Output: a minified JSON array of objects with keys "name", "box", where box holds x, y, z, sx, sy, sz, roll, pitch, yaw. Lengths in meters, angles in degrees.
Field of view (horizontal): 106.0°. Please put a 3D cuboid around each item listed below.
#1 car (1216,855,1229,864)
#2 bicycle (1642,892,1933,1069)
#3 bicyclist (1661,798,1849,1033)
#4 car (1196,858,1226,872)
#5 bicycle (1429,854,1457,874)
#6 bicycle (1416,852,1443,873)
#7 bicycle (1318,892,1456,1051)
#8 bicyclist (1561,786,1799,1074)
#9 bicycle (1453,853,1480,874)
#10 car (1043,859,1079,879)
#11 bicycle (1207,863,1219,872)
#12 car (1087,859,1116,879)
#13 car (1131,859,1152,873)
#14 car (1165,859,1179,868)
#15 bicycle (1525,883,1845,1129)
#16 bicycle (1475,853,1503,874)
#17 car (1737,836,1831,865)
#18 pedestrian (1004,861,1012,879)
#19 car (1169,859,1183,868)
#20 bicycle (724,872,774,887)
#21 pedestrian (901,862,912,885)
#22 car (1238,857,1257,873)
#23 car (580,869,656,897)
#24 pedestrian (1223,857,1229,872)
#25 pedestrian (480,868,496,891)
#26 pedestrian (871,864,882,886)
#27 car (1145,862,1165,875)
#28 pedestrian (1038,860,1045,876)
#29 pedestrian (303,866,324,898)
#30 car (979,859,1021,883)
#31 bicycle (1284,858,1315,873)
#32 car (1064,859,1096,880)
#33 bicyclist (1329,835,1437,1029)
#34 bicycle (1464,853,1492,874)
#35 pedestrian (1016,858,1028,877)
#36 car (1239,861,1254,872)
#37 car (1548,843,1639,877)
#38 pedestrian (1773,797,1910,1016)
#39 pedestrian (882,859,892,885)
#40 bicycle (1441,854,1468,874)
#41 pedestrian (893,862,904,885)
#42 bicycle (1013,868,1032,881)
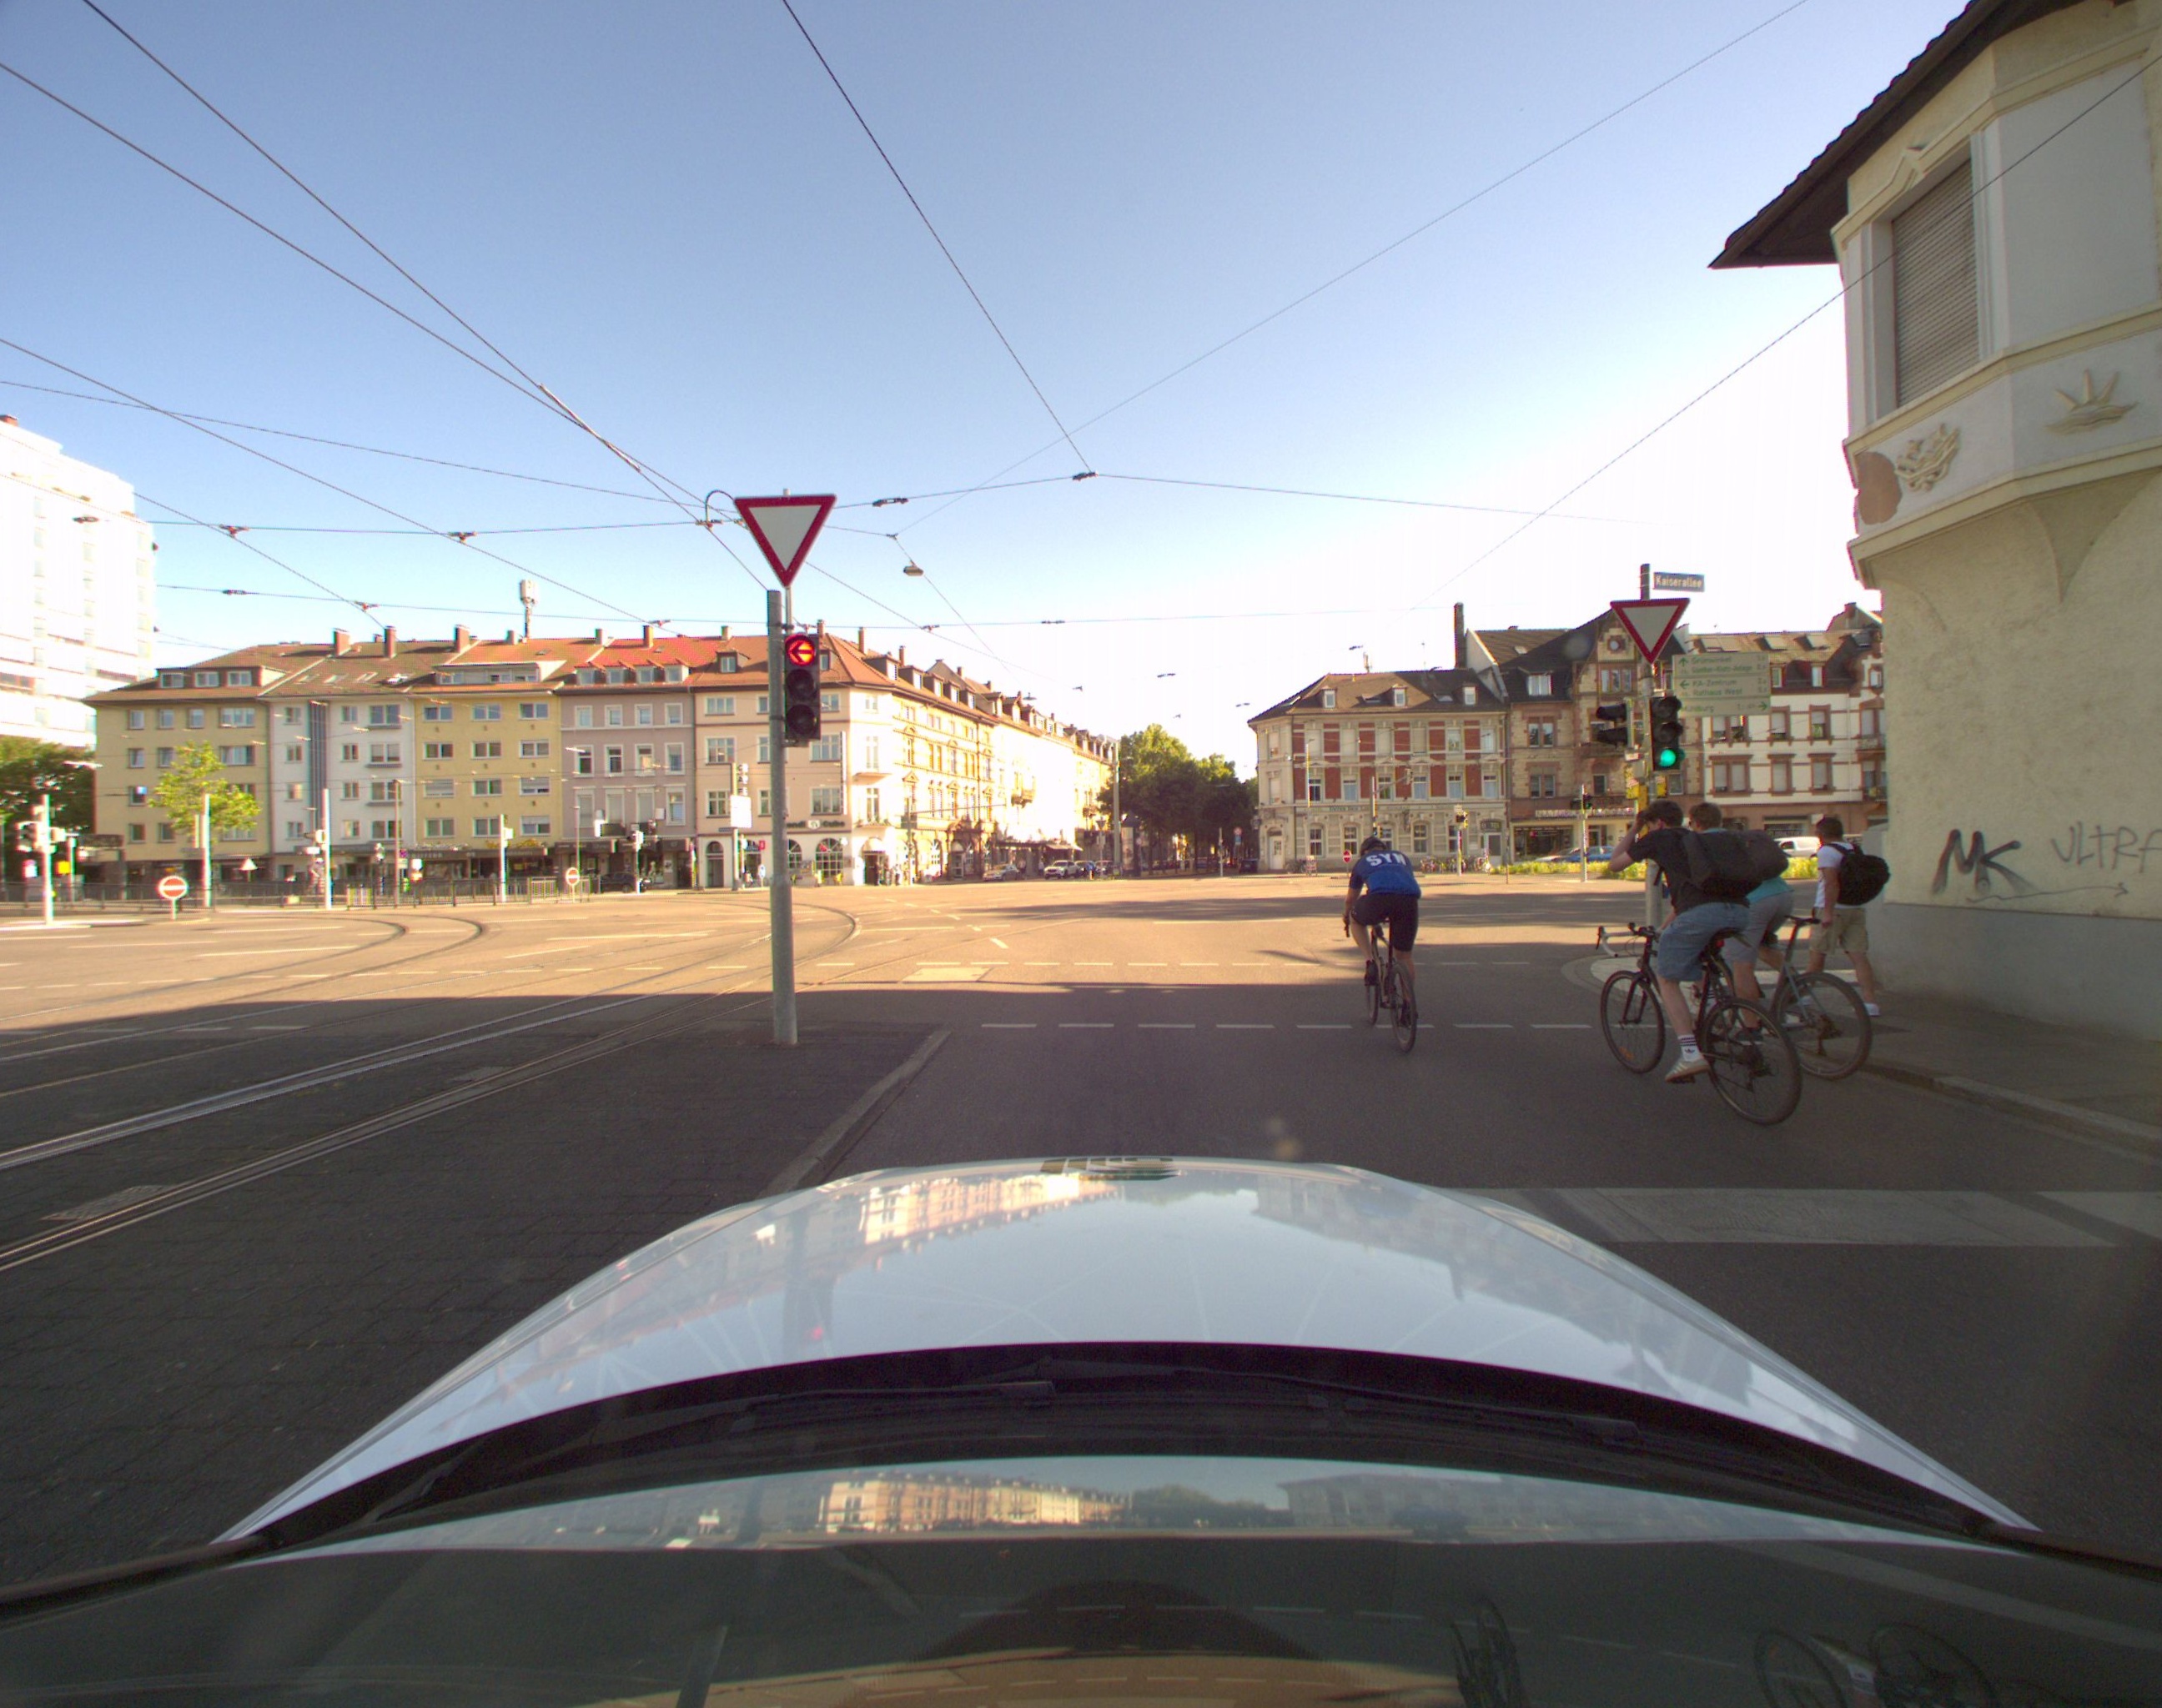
[{"name":"car","box":[23.285,0.926,134.296,1.546,1.513,3.673,-1,-1,19]},{"name":"bicycle","box":[5.007,0.829,5.956,0.647,1.031,1.772,0,-1,3]},{"name":"bicyclist","box":[5.020,0.433,6.132,0.686,1.633,0.884,0,-1,4]},{"name":"car","box":[18.350,1.570,114.715,3.955,1.904,2.009,-1,-1,17]},{"name":"bicycle","box":[23.268,0.634,52.412,0.689,1.287,2.663,0,-1,3]},{"name":"bicycle","box":[22.411,0.560,52.435,0.689,1.287,2.663,0,-1,3]},{"name":"bicycle","box":[2.460,0.888,6.748,0.623,1.085,1.705,0,-1,5]},{"name":"bicyclist","box":[3.625,0.428,5.017,0.803,1.606,0.883,0,-1,0]},{"name":"bicycle","box":[24.782,0.616,52.377,0.626,1.287,2.663,0,-1,3]},{"name":"car","box":[-1.650,1.200,67.359,1.979,1.618,4.015,-1,-1,14]},{"name":"bicycle","box":[16.005,1.655,98.854,0.630,1.085,1.687,0,-1,-28]},{"name":"car","box":[2.075,1.407,79.911,1.979,1.904,4.015,-1,-1,14]},{"name":"car","box":[8.409,1.627,112.684,1.977,1.904,4.019,-1,-1,19]},{"name":"car","box":[14.775,1.561,132.060,1.546,1.513,3.673,-1,-1,19]},{"name":"bicycle","box":[3.637,0.828,5.129,0.752,1.236,1.702,0,-1,0]},{"name":"bicycle","box":[26.204,0.616,52.344,0.626,1.287,2.663,0,-1,3]},{"name":"car","box":[45.318,-0.227,52.557,4.349,1.778,2.000,0,-1,1]},{"name":"pedestrian","box":[-6.832,1.467,75.870,0.539,1.631,0.709,-1,-1,15]},{"name":"car","box":[15.952,1.598,136.014,1.546,1.513,3.673,-1,-1,19]},{"name":"bicycle","box":[-23.417,1.791,57.458,3.118,0.980,1.002,0,-1,1]},{"name":"pedestrian","box":[-12.333,1.374,57.607,0.631,1.634,0.700,0,-1,-2]},{"name":"car","box":[16.827,1.125,82.353,1.680,1.565,3.855,-1,-1,14]},{"name":"car","box":[-30.582,1.919,53.810,3.962,1.670,2.006,-2,0,10]},{"name":"pedestrian","box":[17.956,1.322,101.014,0.635,1.796,0.492,-1,-1,14]},{"name":"pedestrian","box":[-41.652,1.786,57.231,0.631,1.634,0.700,0,-1,-2]},{"name":"pedestrian","box":[-14.246,1.460,56.669,0.631,1.477,0.465,0,-1,-2]},{"name":"car","box":[11.133,2.232,122.631,1.977,1.904,4.019,-1,-1,19]},{"name":"pedestrian","box":[-4.054,1.478,83.376,0.539,1.631,0.709,-1,-1,15]},{"name":"pedestrian","box":[-39.477,1.437,41.889,0.523,1.628,0.577,0,-1,0]},{"name":"car","box":[-6.669,1.370,67.435,1.977,1.904,4.019,-1,-1,19]},{"name":"bicycle","box":[15.258,0.809,56.869,2.040,0.998,0.631,-1,-1,4]},{"name":"car","box":[-0.047,1.373,73.780,1.979,1.904,4.015,-1,-1,14]},{"name":"bicyclist","box":[2.465,0.592,6.725,0.635,1.494,0.885,0,1,6]},{"name":"bicycle","box":[25.509,0.617,52.373,0.626,1.287,2.663,0,-1,3]},{"name":"pedestrian","box":[-4.752,1.108,65.481,0.814,1.512,0.601,-1,-1,16]},{"name":"car","box":[21.560,1.645,105.859,1.741,1.362,3.871,-1,-1,15]},{"name":"car","box":[28.349,0.327,45.127,3.769,1.778,2.000,0,-1,1]},{"name":"pedestrian","box":[6.500,0.427,6.968,0.589,1.756,0.635,-5,-1,-37]},{"name":"pedestrian","box":[-13.705,1.263,57.501,0.631,1.881,0.465,0,-1,-2]},{"name":"bicycle","box":[23.991,0.629,52.405,0.626,1.287,2.663,0,-1,3]},{"name":"pedestrian","box":[-12.630,1.345,56.358,0.631,1.634,0.700,0,-1,-2]},{"name":"bicycle","box":[-4.724,1.638,65.549,0.756,1.008,2.406,-1,-1,16]}]
